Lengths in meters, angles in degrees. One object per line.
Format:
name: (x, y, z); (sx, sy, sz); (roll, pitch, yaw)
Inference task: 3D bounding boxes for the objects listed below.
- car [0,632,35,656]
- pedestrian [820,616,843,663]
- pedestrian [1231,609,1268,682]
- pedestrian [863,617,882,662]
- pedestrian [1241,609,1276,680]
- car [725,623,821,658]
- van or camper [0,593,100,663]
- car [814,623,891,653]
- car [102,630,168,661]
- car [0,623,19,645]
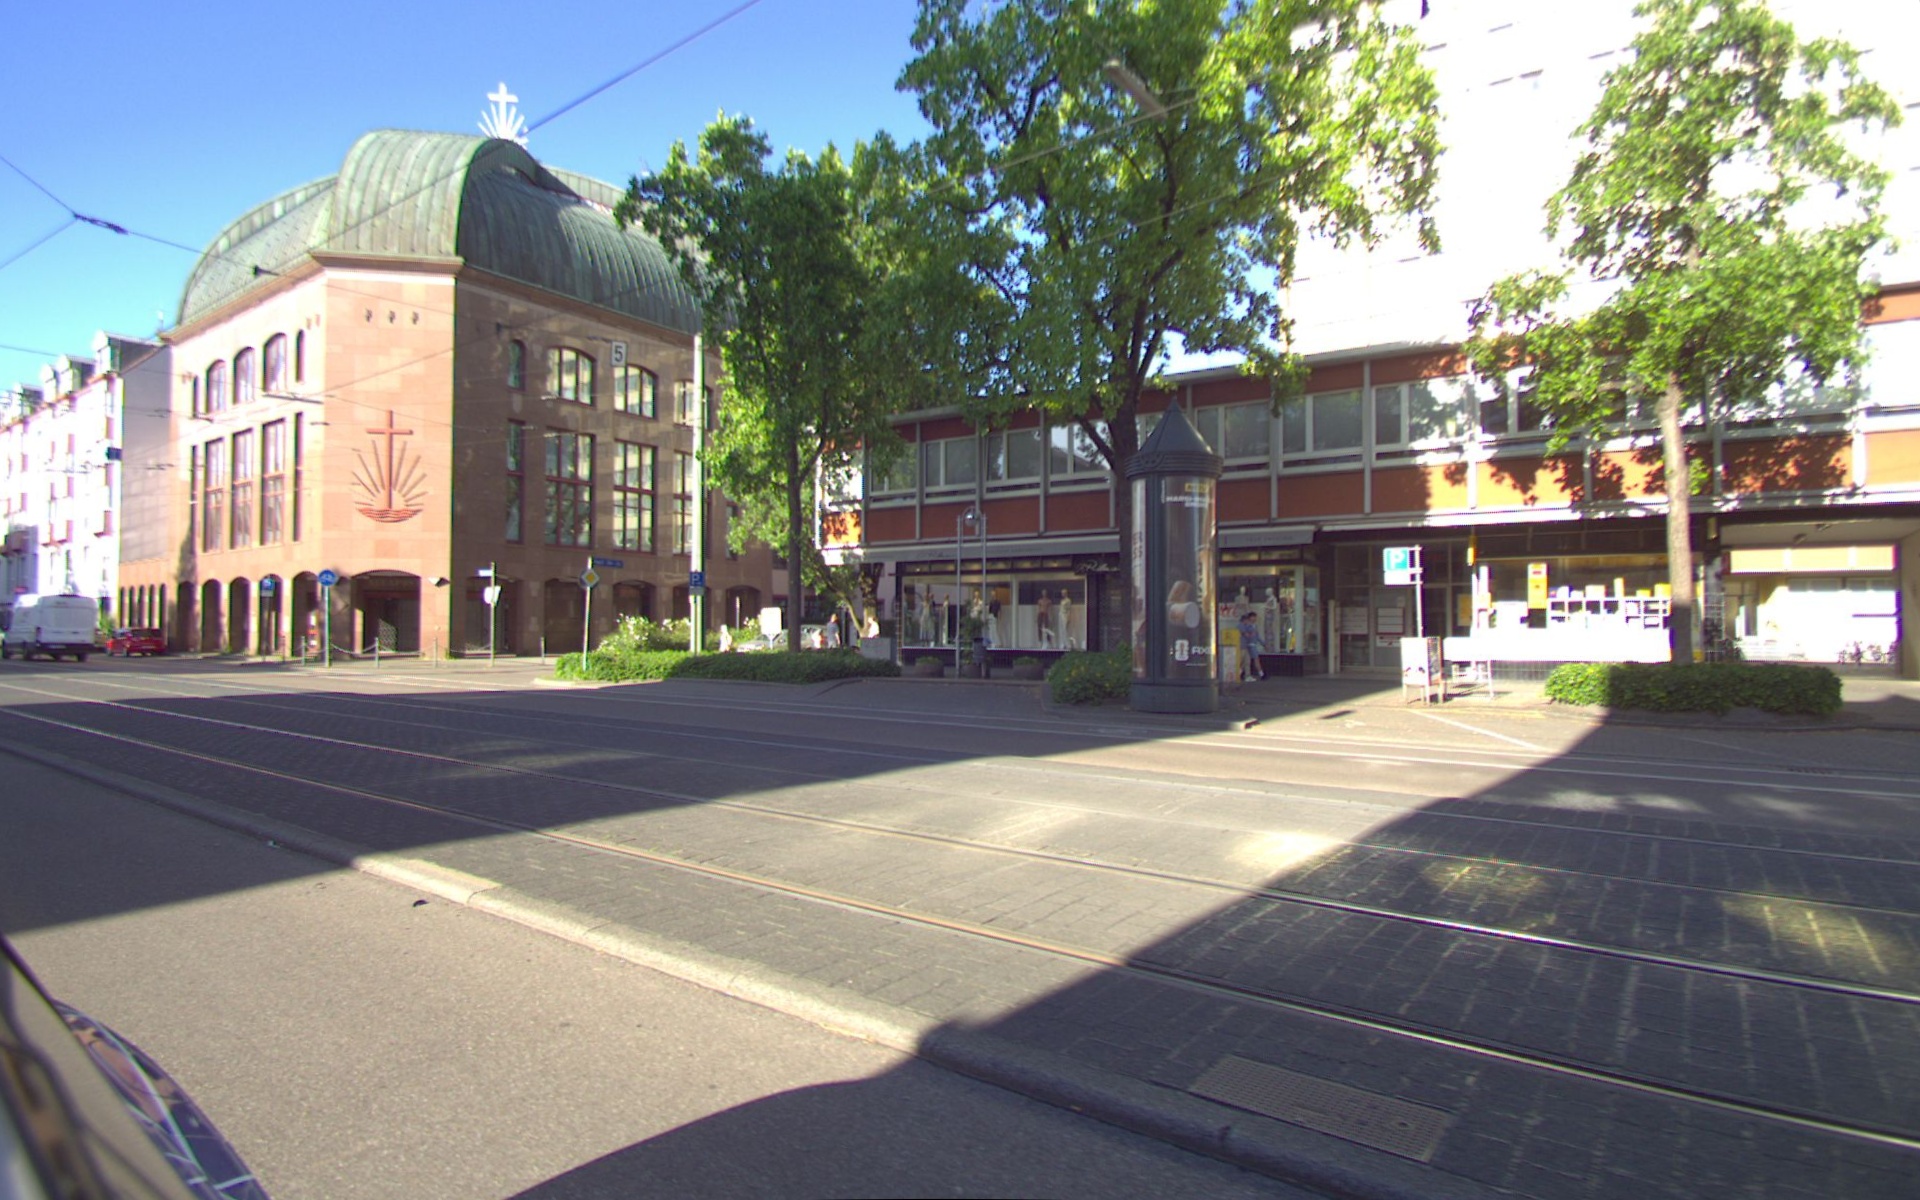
car: (-62.174, 2.847, 66.197); (3.847, 1.465, 1.834); (-1, -1, 37)
pedestrian: (-4.507, 1.381, 35.507); (0.440, 1.604, 0.722); (2, -3, -44)
pedestrian: (7.252, 1.124, 25.348); (0.705, 1.785, 0.567); (-1, -2, 38)
pedestrian: (-3.142, 1.410, 36.232); (0.439, 1.604, 0.724); (1, -2, -28)
pedestrian: (7.611, 1.131, 25.813); (0.705, 1.764, 0.567); (-1, -2, 38)
car: (-8.683, 1.880, 47.302); (1.996, 1.542, 4.222); (-1, -3, 36)
van or camper: (-38.415, 1.187, 42.411); (7.008, 2.760, 2.018); (-1, -3, 37)
car: (-5.619, 2.014, 53.468); (1.991, 1.542, 4.233); (-1, -2, 28)
car: (-41.350, 2.232, 50.697); (3.464, 1.465, 1.733); (-1, -1, 36)
car: (-65.959, 2.343, 69.131); (3.847, 1.465, 1.834); (-1, -1, 37)
